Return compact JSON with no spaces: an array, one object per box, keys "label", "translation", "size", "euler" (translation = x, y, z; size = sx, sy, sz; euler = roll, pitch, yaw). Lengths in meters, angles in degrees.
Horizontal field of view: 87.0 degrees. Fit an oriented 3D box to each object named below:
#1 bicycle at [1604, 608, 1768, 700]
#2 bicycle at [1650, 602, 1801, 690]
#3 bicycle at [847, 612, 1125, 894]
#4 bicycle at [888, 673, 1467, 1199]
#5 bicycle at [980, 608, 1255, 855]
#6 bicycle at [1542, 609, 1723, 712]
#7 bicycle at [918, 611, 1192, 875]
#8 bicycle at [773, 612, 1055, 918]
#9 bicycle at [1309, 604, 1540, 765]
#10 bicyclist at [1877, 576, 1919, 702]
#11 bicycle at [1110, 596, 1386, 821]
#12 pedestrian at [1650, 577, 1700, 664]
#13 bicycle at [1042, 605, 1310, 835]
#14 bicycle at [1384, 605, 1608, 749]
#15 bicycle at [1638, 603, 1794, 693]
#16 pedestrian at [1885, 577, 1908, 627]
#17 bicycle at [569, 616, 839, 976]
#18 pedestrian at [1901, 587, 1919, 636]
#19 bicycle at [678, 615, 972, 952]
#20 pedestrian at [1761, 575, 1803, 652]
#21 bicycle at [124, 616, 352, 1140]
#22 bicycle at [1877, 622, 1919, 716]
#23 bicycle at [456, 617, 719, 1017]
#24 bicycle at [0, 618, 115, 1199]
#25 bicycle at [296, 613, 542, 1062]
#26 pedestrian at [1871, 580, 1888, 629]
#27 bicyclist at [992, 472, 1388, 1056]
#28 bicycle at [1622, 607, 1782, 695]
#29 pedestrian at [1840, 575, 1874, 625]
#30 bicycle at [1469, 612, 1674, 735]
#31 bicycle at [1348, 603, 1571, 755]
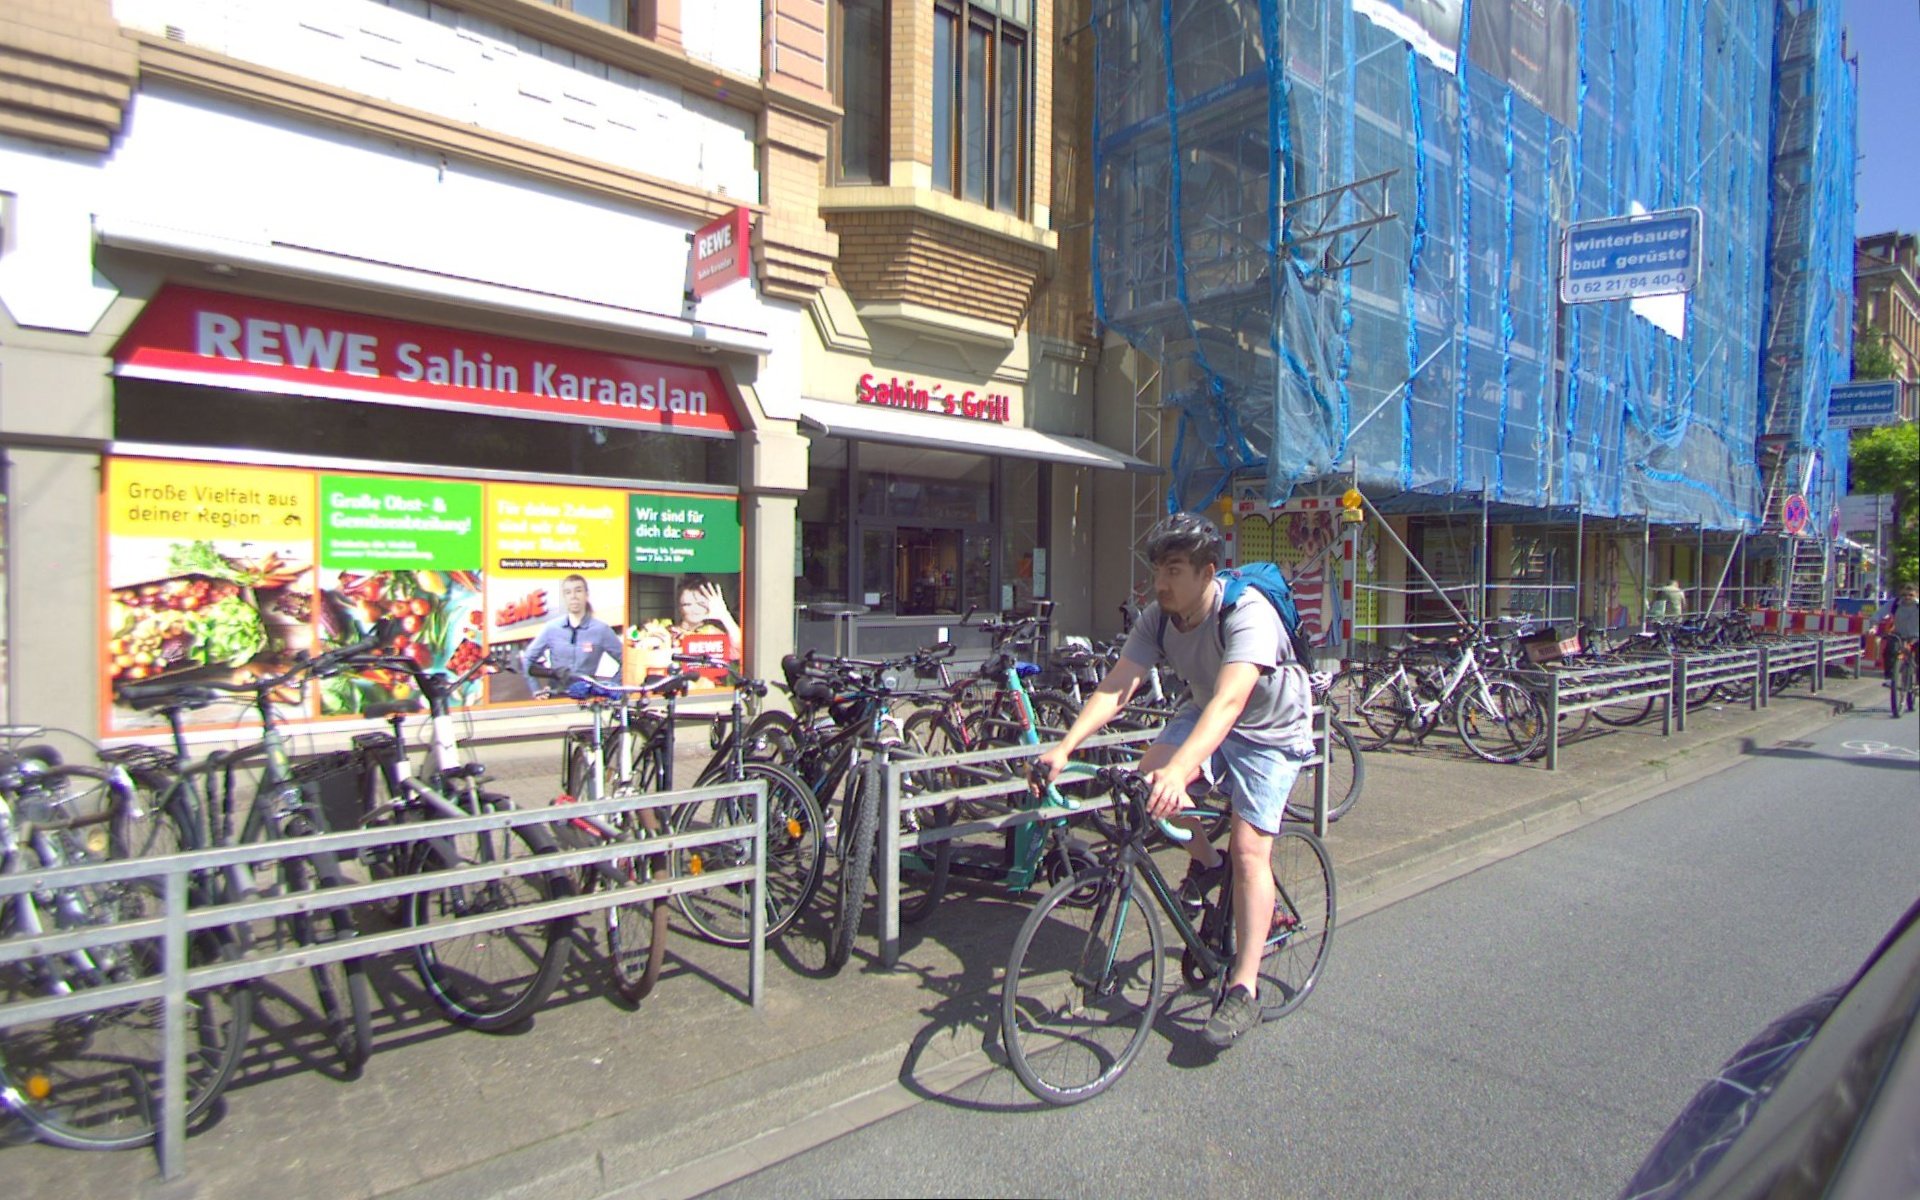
[{"label":"bicycle","translation":[9.681,0.684,13.547],"size":[0.597,1.111,1.697],"euler":[0,1,-39]},{"label":"bicycle","translation":[11.282,0.640,14.966],"size":[0.597,1.193,1.697],"euler":[0,1,-39]},{"label":"bicycle","translation":[0.061,0.679,5.234],"size":[0.455,1.193,1.697],"euler":[0,1,-39]},{"label":"bicycle","translation":[0.824,0.872,3.283],"size":[2.094,1.106,0.735],"euler":[-1,0,-41]},{"label":"bicycle","translation":[0.839,0.658,5.835],"size":[0.482,1.193,1.697],"euler":[0,1,-39]},{"label":"bicycle","translation":[8.139,0.696,12.308],"size":[0.597,1.123,1.743],"euler":[0,1,-39]},{"label":"bicycle","translation":[0.448,0.677,5.525],"size":[0.443,1.193,1.697],"euler":[0,1,-39]},{"label":"bicycle","translation":[-0.294,0.677,4.893],"size":[0.449,1.193,1.697],"euler":[0,1,-39]},{"label":"bicycle","translation":[3.886,0.649,8.577],"size":[0.597,1.193,1.697],"euler":[0,1,-39]},{"label":"bicyclist","translation":[12.435,0.489,13.091],"size":[0.764,1.597,0.750],"euler":[0,0,-41]},{"label":"bicycle","translation":[1.807,0.611,6.568],"size":[0.597,1.256,1.697],"euler":[0,1,-39]},{"label":"pedestrian","translation":[13.621,0.376,19.280],"size":[0.643,1.621,0.753],"euler":[-1,0,44]},{"label":"bicycle","translation":[1.262,0.646,6.227],"size":[0.488,1.193,1.697],"euler":[0,1,-39]},{"label":"bicycle","translation":[4.970,0.660,9.487],"size":[0.597,1.193,1.775],"euler":[0,1,-39]},{"label":"bicycle","translation":[10.797,0.650,14.498],"size":[0.597,1.193,1.697],"euler":[0,1,-39]},{"label":"pedestrian","translation":[32.559,0.059,35.191],"size":[0.498,1.703,0.529],"euler":[4,4,43]},{"label":"bicycle","translation":[-1.155,0.687,4.287],"size":[0.451,1.193,1.697],"euler":[0,1,-39]},{"label":"pedestrian","translation":[37.576,0.451,39.608],"size":[0.874,1.871,0.818],"euler":[0,3,-32]},{"label":"bicycle","translation":[-0.677,0.685,4.539],"size":[0.504,1.193,1.697],"euler":[0,1,-39]},{"label":"pedestrian","translation":[19.584,0.312,24.108],"size":[0.638,1.799,0.640],"euler":[0,0,-40]},{"label":"bicycle","translation":[-2.327,0.669,3.199],"size":[0.461,1.193,1.697],"euler":[0,1,-39]},{"label":"bicycle","translation":[12.420,0.859,13.000],"size":[1.865,1.106,0.735],"euler":[-1,0,-41]},{"label":"bicycle","translation":[-1.522,0.687,3.947],"size":[0.452,1.193,1.697],"euler":[0,1,-39]},{"label":"bicycle","translation":[-2.700,0.695,2.728],"size":[0.597,1.193,1.698],"euler":[1,2,-39]},{"label":"bicycle","translation":[-1.985,0.665,3.595],"size":[0.461,1.193,1.697],"euler":[0,1,-39]},{"label":"pedestrian","translation":[32.074,0.153,35.299],"size":[0.469,1.703,0.381],"euler":[-1,3,-45]},{"label":"bicyclist","translation":[0.750,0.409,3.206],"size":[1.123,1.481,0.689],"euler":[0,0,-41]},{"label":"bicycle","translation":[10.225,0.670,14.000],"size":[0.597,1.111,1.697],"euler":[0,1,-39]},{"label":"pedestrian","translation":[32.722,-0.020,36.915],"size":[0.966,1.803,0.670],"euler":[0,2,-36]},{"label":"bicycle","translation":[6.186,0.700,10.318],"size":[0.597,1.101,1.697],"euler":[0,1,-39]},{"label":"bicycle","translation":[4.406,0.641,9.030],"size":[0.597,1.193,1.697],"euler":[0,1,-39]}]
